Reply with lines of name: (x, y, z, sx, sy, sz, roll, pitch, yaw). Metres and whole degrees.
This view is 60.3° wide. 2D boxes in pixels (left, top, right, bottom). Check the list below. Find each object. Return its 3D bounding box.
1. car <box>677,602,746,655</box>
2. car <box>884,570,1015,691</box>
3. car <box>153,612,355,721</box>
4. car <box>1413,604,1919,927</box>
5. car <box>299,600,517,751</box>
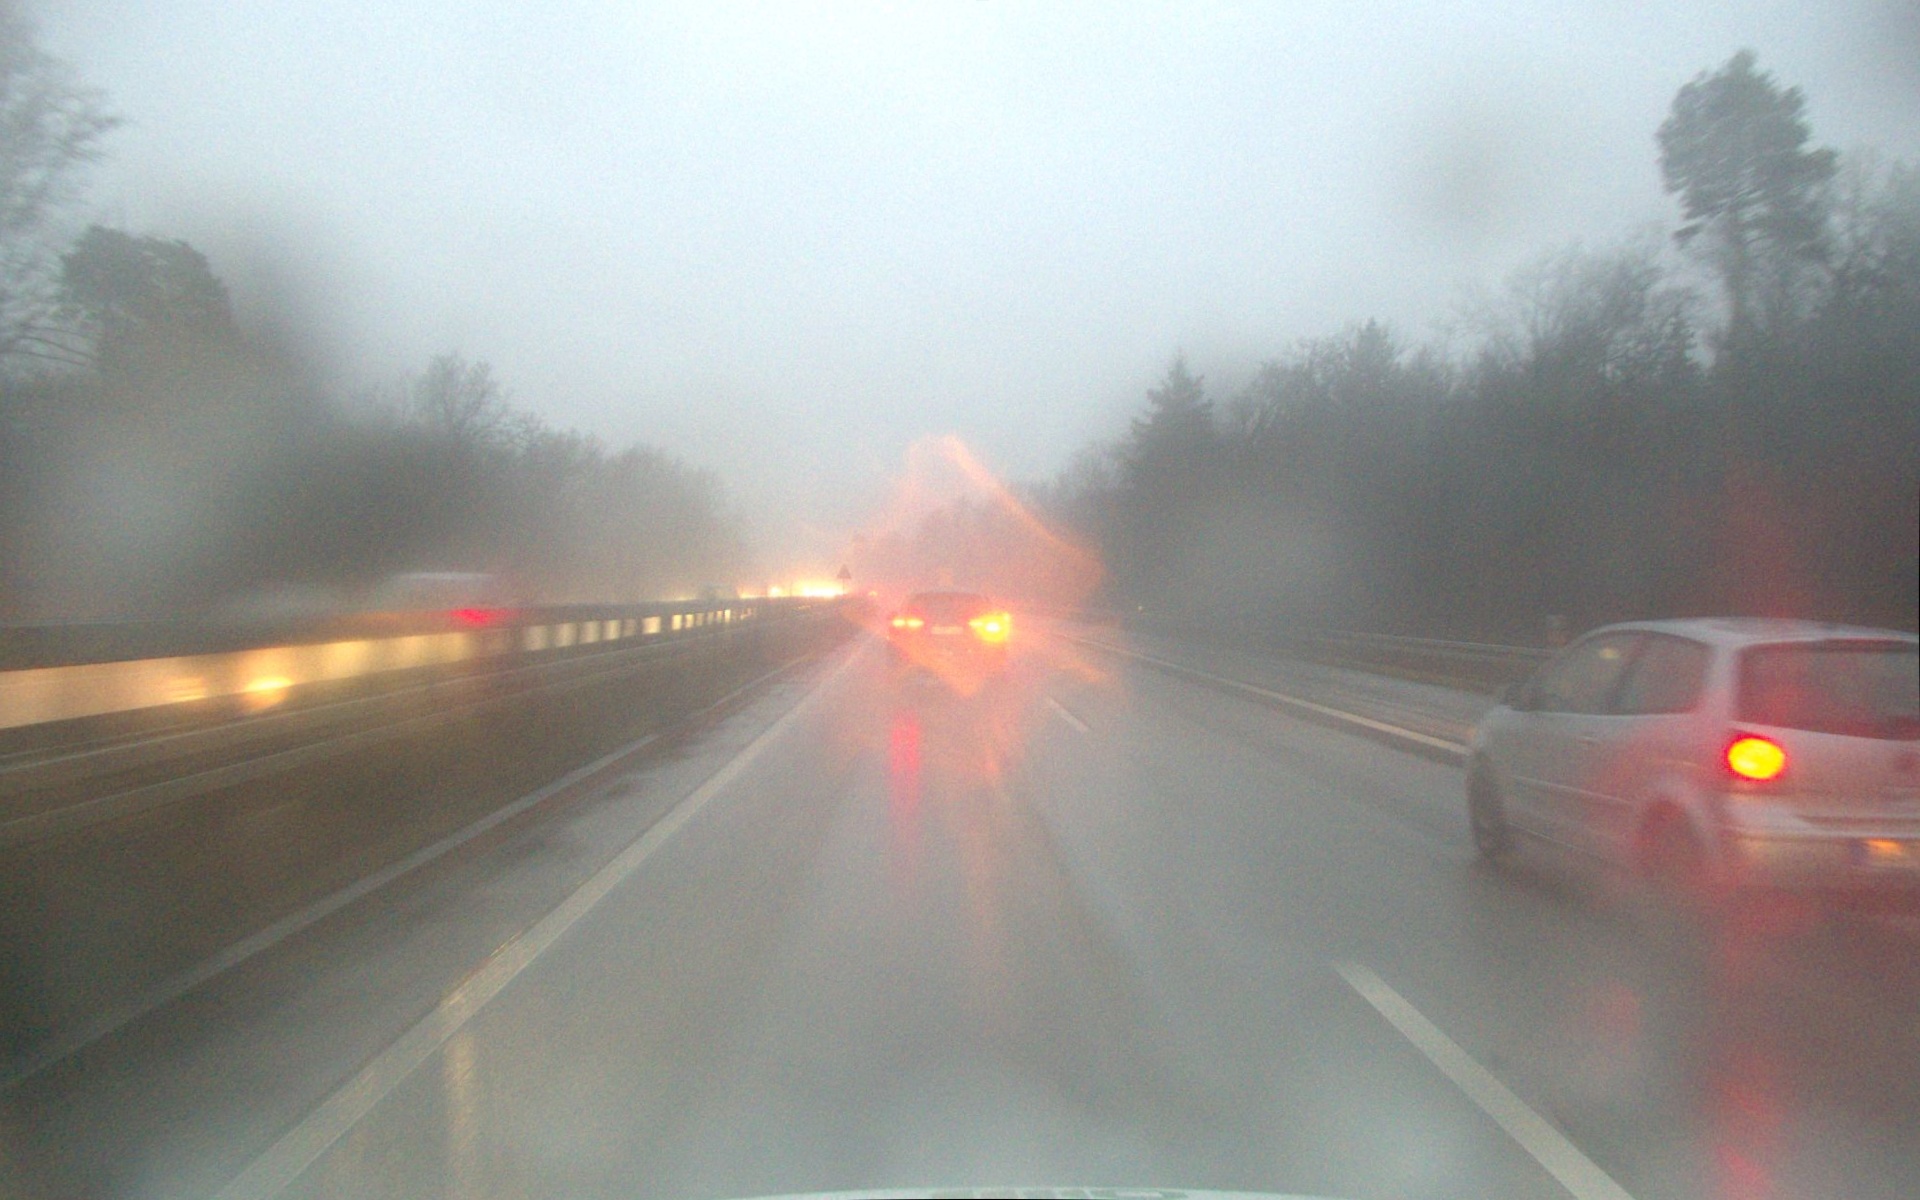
car: (-8.755, 1.012, 58.564, 1.786, 1.700, 3.999, 3, -1, -1)
car: (-0.215, 0.443, 26.910, 1.946, 1.798, 4.172, 1, 0, -2)
car: (-12.351, 1.133, 29.228, 1.786, 1.700, 3.999, 3, -1, -1)
car: (3.963, 0.779, 9.465, 1.744, 1.462, 3.537, 1, 0, -1)
car: (-7.976, 1.058, 24.286, 1.786, 1.937, 3.999, 3, -1, -1)
